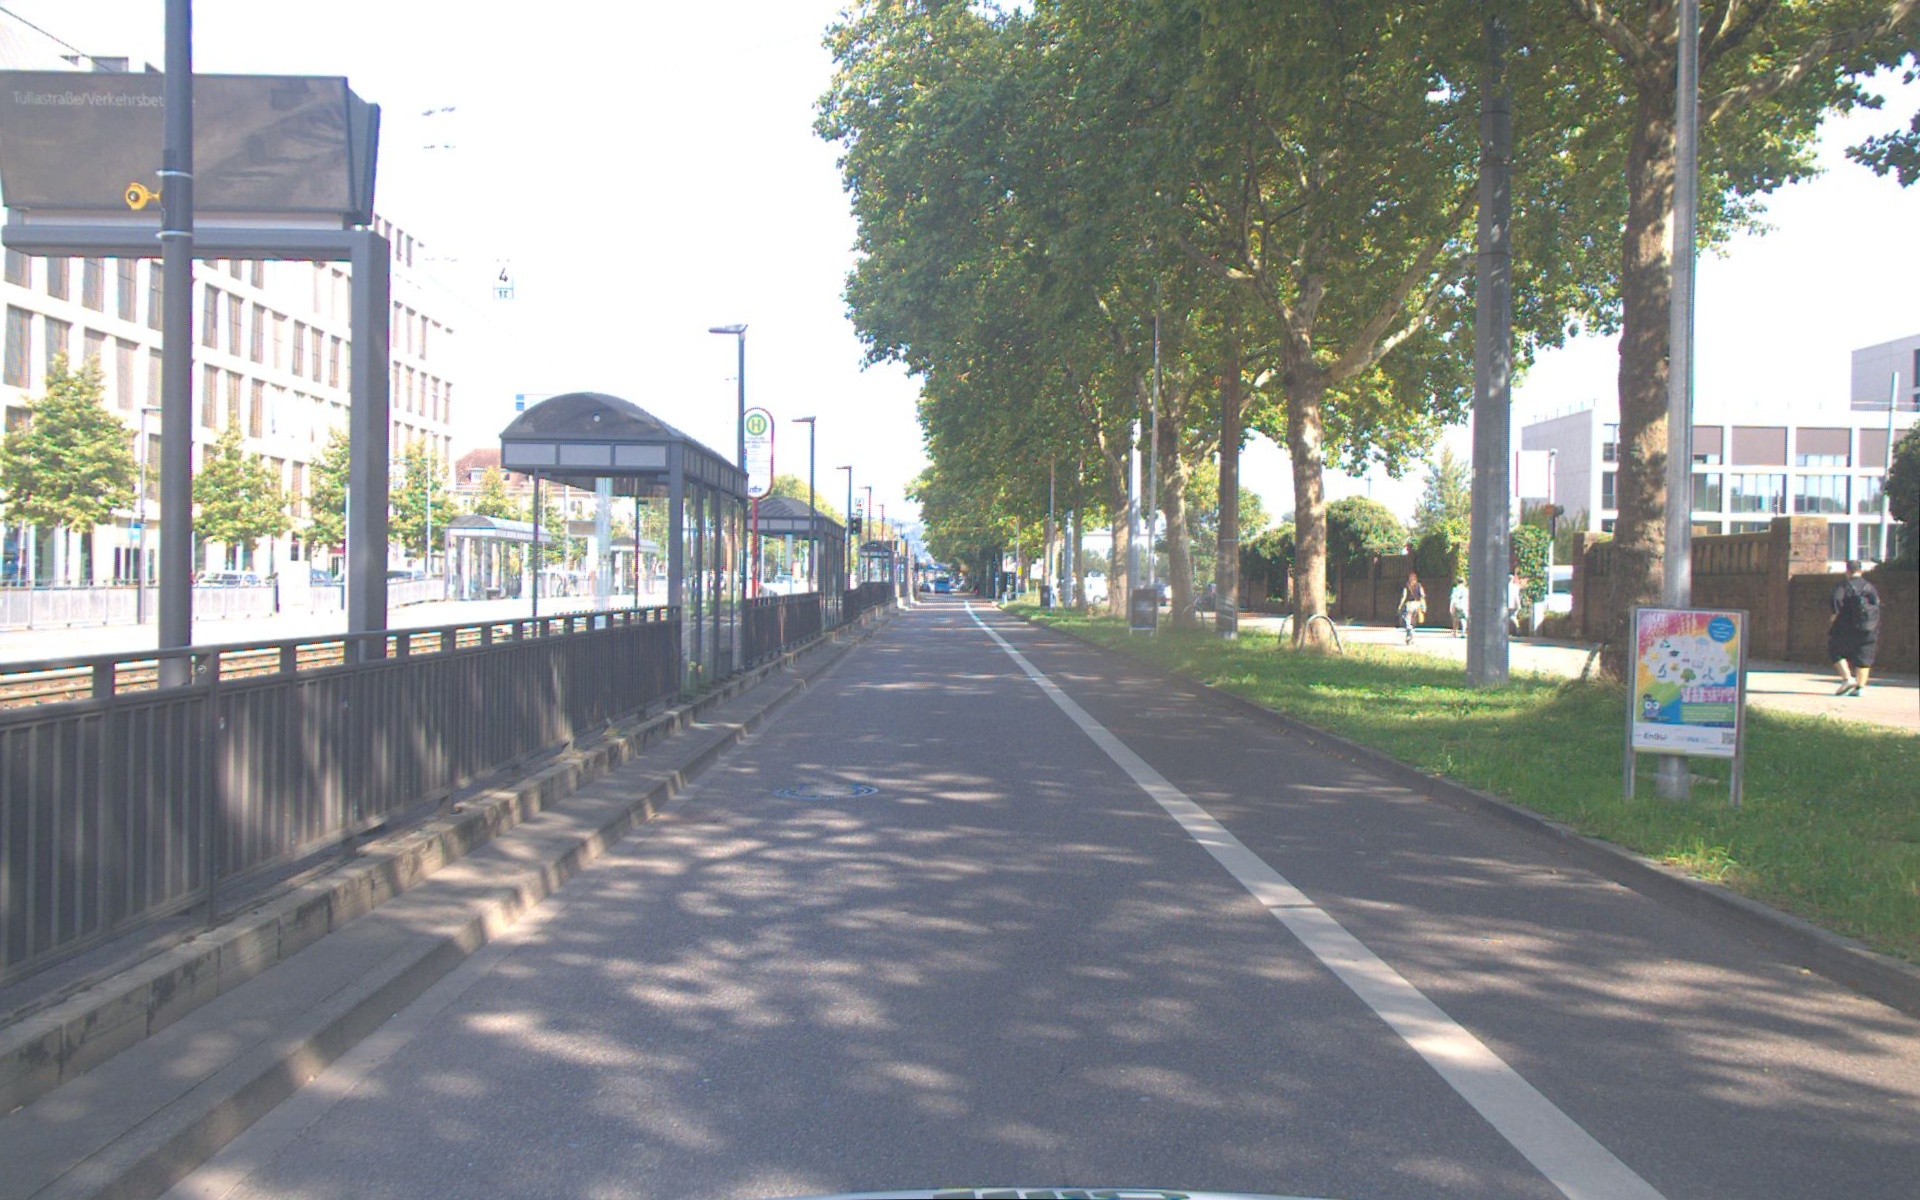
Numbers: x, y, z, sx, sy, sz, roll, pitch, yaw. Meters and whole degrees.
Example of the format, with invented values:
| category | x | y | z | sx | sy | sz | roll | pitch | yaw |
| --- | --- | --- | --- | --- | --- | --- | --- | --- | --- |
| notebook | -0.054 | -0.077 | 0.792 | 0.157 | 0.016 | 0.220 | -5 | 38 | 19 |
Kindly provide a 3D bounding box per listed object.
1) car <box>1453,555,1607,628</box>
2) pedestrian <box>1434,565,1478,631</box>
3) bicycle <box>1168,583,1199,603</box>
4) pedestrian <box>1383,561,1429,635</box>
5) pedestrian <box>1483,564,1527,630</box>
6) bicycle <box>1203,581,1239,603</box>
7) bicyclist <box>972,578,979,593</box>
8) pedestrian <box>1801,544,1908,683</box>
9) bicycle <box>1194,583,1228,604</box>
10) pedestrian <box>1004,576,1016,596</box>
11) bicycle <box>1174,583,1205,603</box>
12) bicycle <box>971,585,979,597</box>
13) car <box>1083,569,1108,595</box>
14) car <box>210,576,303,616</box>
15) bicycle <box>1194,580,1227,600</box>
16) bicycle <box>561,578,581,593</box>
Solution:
| category | x | y | z | sx | sy | sz | roll | pitch | yaw |
| --- | --- | --- | --- | --- | --- | --- | --- | --- | --- |
| car | 19.657 | -0.282 | 57.133 | 4.567 | 2.358 | 2.055 | 2 | 0 | -1 |
| pedestrian | 12.531 | -0.055 | 41.821 | 0.789 | 1.632 | 0.947 | -1 | 0 | 0 |
| bicycle | 11.484 | -0.342 | 84.846 | 0.502 | 0.986 | 1.636 | -2 | 1 | -42 |
| pedestrian | 10.259 | -0.042 | 38.082 | 0.789 | 1.665 | 0.947 | -1 | 0 | 0 |
| pedestrian | 13.757 | -0.088 | 41.768 | 0.789 | 1.632 | 0.947 | -1 | 0 | 0 |
| bicycle | 12.321 | -0.366 | 78.152 | 1.621 | 0.986 | 0.506 | -1 | 0 | 5 |
| bicyclist | 1.486 | -1.395 | 160.281 | 0.691 | 1.486 | 1.009 | 1 | 0 | 0 |
| pedestrian | 11.316 | 0.164 | 20.954 | 0.802 | 1.716 | 1.012 | 0 | 1 | -1 |
| bicycle | 12.307 | -0.331 | 81.154 | 1.621 | 0.986 | 0.506 | -1 | 0 | 5 |
| pedestrian | 4.185 | -1.165 | 138.325 | 0.614 | 1.645 | 0.842 | 1 | 1 | 37 |
| bicycle | 11.596 | -0.351 | 83.633 | 0.502 | 0.986 | 1.636 | -2 | 1 | -42 |
| bicycle | 1.461 | -0.893 | 160.207 | 0.700 | 1.127 | 2.509 | 2 | 0 | 0 |
| car | 11.049 | -1.446 | 135.346 | 1.687 | 2.084 | 4.461 | 0 | 1 | 0 |
| car | -25.539 | -0.167 | 60.183 | 1.609 | 1.401 | 4.222 | 0 | 1 | -1 |
| bicycle | 12.998 | -0.529 | 85.811 | 1.622 | 0.986 | 0.506 | -1 | 0 | 2 |
| bicycle | -17.852 | -0.660 | 75.926 | 0.467 | 0.674 | 1.614 | 0 | 1 | 4 |
